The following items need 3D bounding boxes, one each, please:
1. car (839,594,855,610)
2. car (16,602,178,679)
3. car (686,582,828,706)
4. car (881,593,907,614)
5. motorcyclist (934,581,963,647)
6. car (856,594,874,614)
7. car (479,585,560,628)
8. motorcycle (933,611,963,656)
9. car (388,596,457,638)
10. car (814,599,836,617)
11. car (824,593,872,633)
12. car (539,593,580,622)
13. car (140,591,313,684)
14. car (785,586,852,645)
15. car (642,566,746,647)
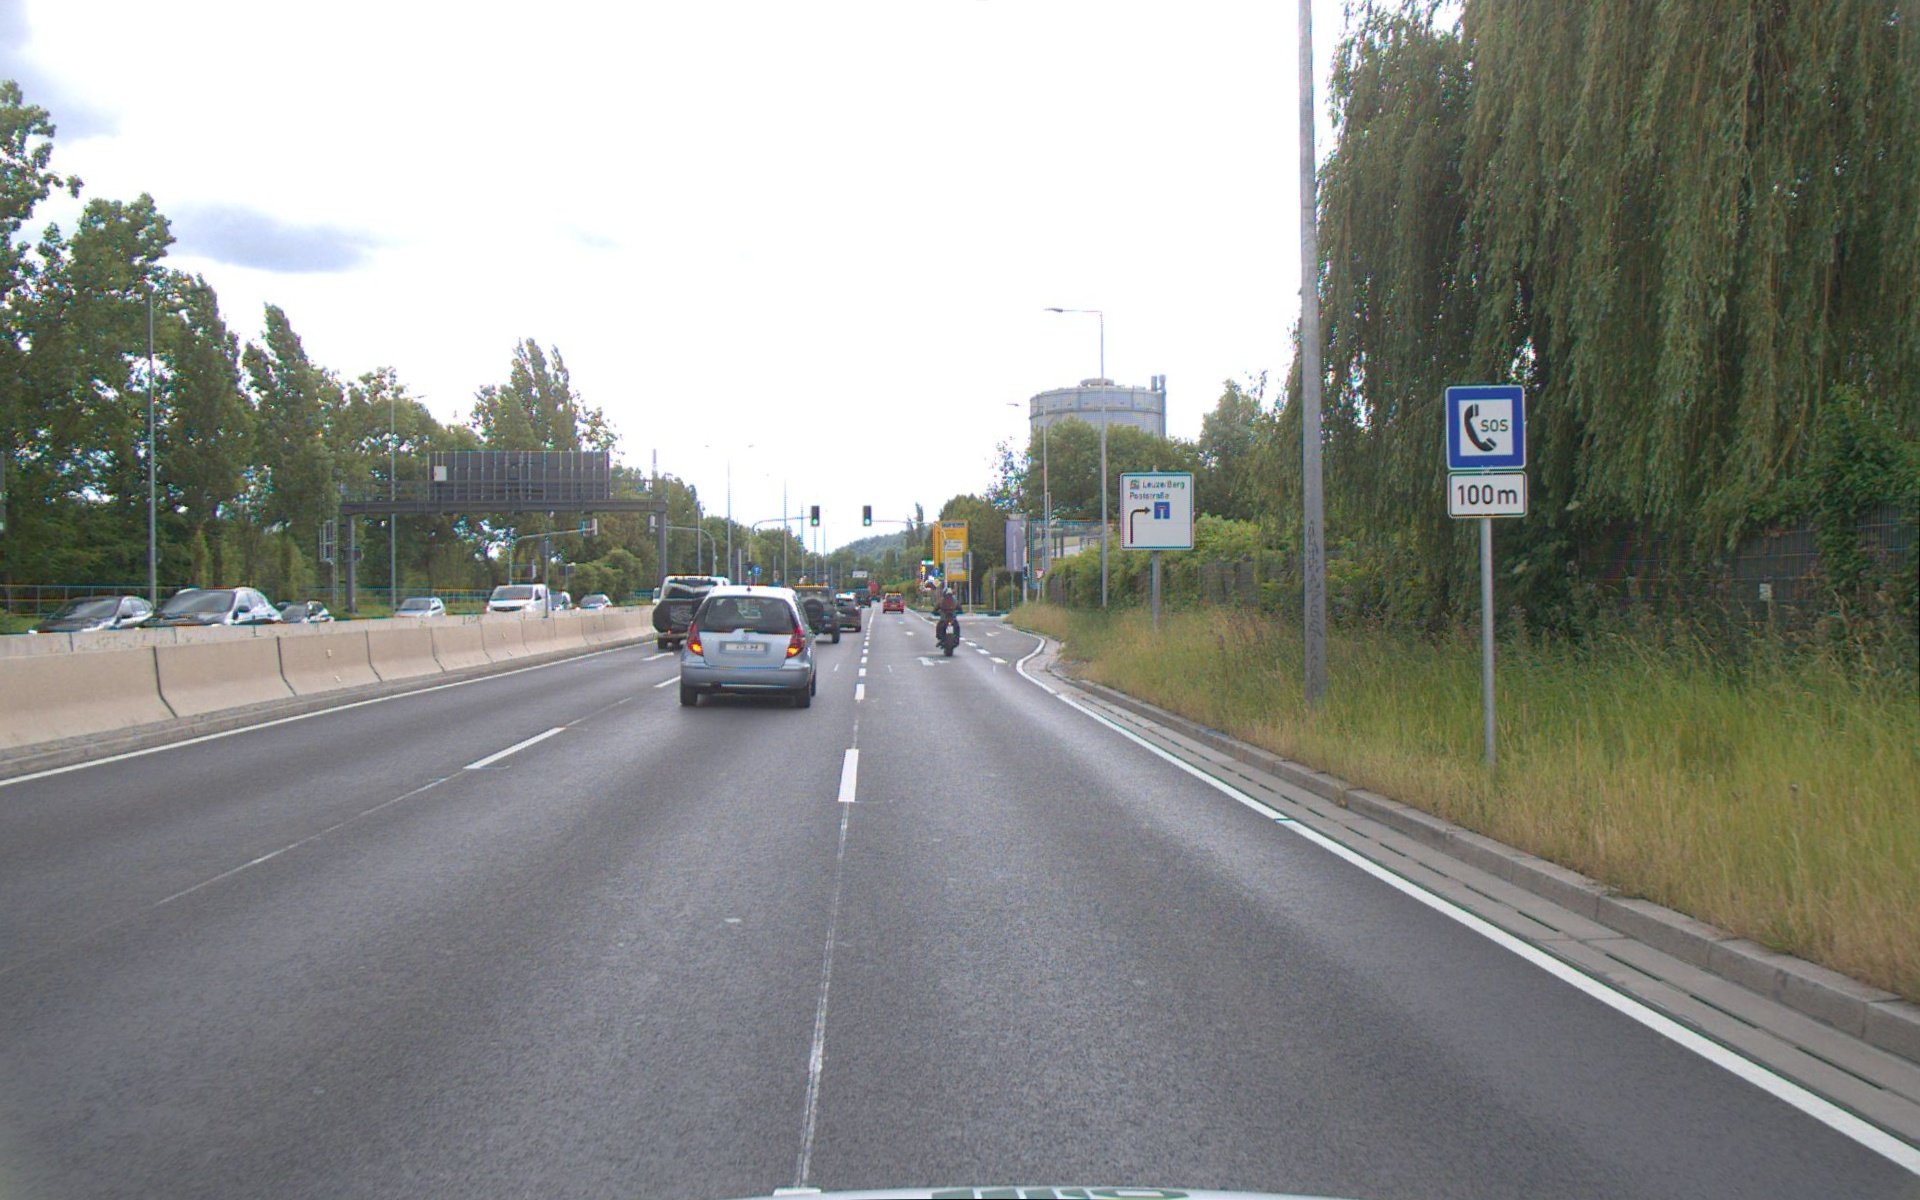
[{"bbox_3d":[-15.018,0.307,219.487,1.953,2.049,3.998,2,0,-2],"label":"car"},{"bbox_3d":[-21.865,0.974,42.090,1.953,1.769,4.301,2,0,-2],"label":"car"},{"bbox_3d":[-2.774,0.557,23.308,1.676,1.556,3.997,2,0,-3],"label":"car"},{"bbox_3d":[-5.227,0.234,130.400,1.954,1.579,3.997,2,0,-4],"label":"car"},{"bbox_3d":[-0.296,0.350,41.800,0.671,1.638,0.845,2,0,-1],"label":"motorcyclist"},{"bbox_3d":[-10.491,0.440,183.039,1.954,2.049,3.998,2,0,-3],"label":"car"},{"bbox_3d":[-17.617,0.226,66.368,1.953,1.586,4.885,2,0,-1],"label":"car"},{"bbox_3d":[-0.317,0.832,41.863,0.692,1.058,2.026,2,0,-1],"label":"motorcycle"},{"bbox_3d":[-23.945,0.736,73.838,1.840,1.712,4.120,2,0,-3],"label":"car"},{"bbox_3d":[-12.537,0.761,154.267,1.954,1.579,3.997,2,0,-4],"label":"car"},{"bbox_3d":[-4.454,0.491,66.271,1.803,1.489,3.998,2,0,-3],"label":"car"},{"bbox_3d":[-25.807,0.470,106.717,1.840,1.712,3.925,2,0,-3],"label":"car"},{"bbox_3d":[-15.347,0.736,34.840,1.954,1.769,3.998,2,0,-2],"label":"car"},{"bbox_3d":[-4.328,0.444,51.073,1.869,1.713,3.998,2,0,-3],"label":"car"},{"bbox_3d":[-6.968,0.143,43.839,2.171,1.959,4.999,2,0,-3],"label":"car"}]
